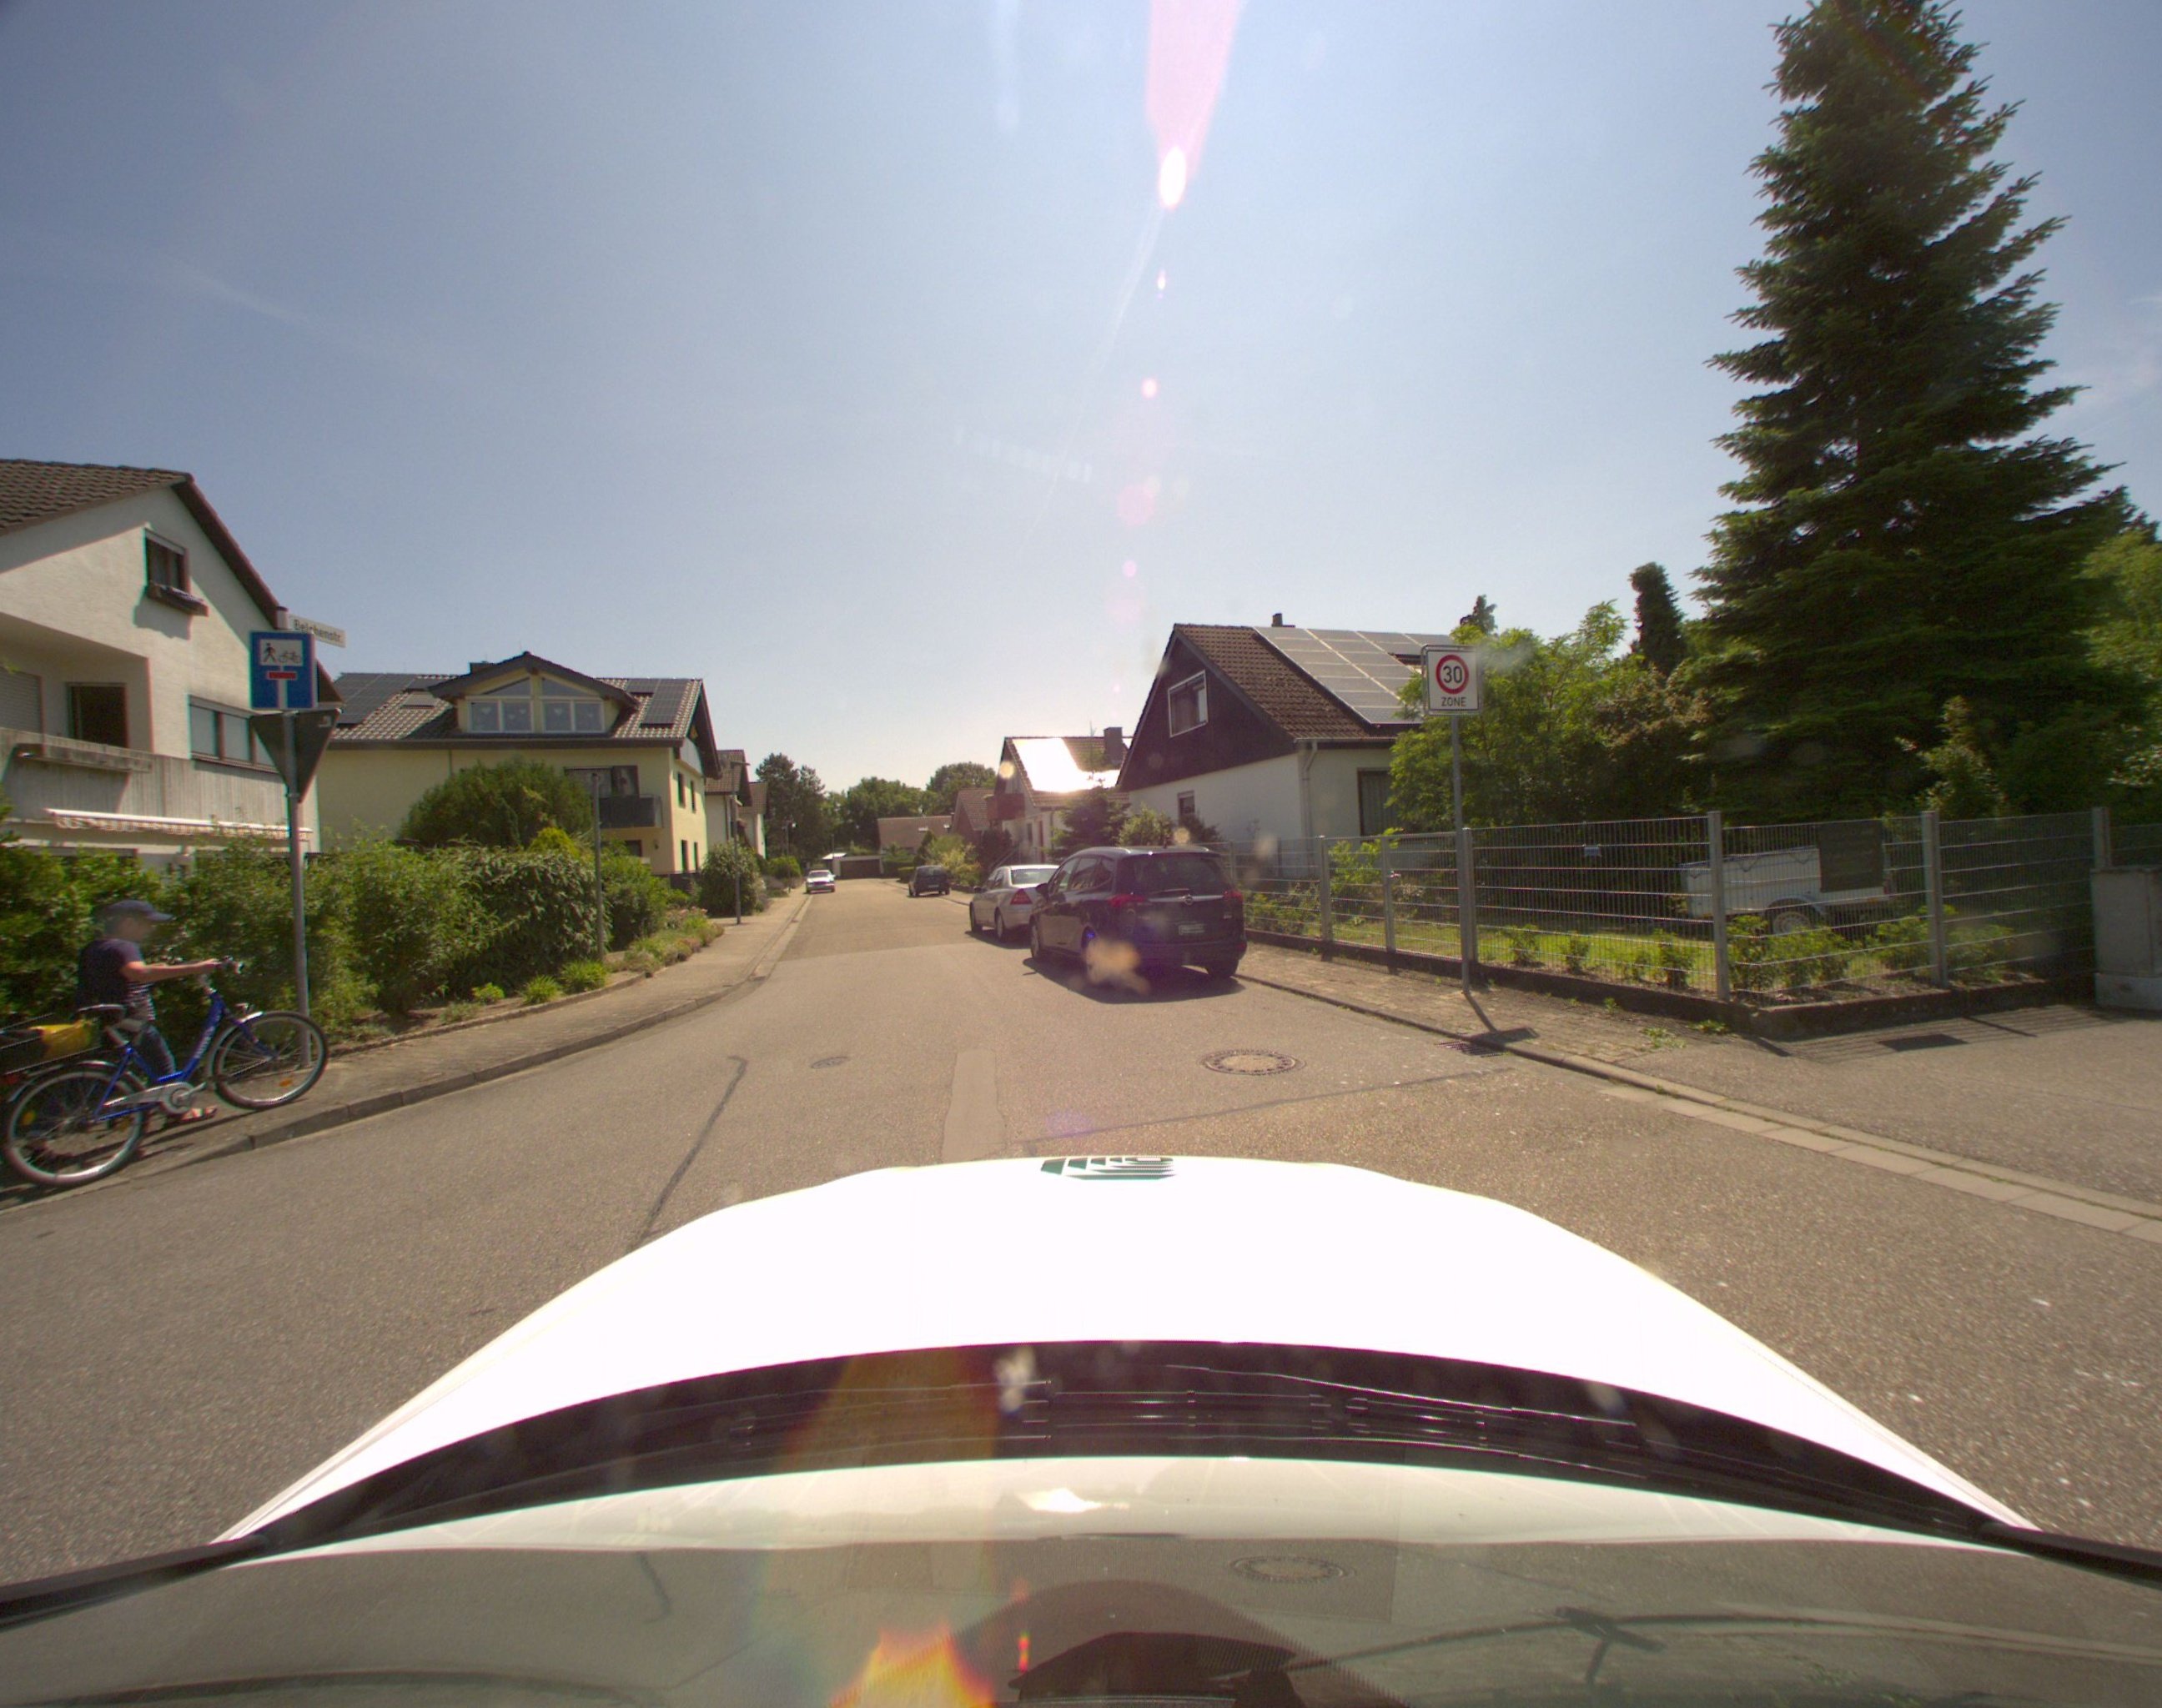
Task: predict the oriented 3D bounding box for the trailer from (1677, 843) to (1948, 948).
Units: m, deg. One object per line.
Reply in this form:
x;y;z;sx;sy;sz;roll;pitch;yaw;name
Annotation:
8.893;0.464;10.037;1.108;1.084;2.204;-3;0;-25;trailer

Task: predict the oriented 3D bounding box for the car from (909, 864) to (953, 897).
-7.291;1.251;39.356;1.654;1.440;3.631;-3;0;-17;car

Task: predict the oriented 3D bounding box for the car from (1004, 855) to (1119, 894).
-0.867;0.855;34.662;4.546;1.396;1.941;-3;0;-16;car

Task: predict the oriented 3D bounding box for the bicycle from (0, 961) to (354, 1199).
-5.598;1.285;5.091;0.440;0.964;1.848;-3;0;-1;bicycle

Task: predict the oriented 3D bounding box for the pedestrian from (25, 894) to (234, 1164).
-5.838;1.026;5.031;0.502;1.500;0.611;-3;0;-5;pedestrian

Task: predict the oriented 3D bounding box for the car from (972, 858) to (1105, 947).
-1.019;0.879;16.601;1.690;1.460;4.312;-3;0;-16;car

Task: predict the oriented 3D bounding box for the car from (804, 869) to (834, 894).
-17.083;1.762;53.159;1.703;1.393;4.312;-3;0;-16;car

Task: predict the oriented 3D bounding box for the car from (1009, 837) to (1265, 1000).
0.468;0.701;11.215;1.968;1.662;4.656;-3;0;-16;car
